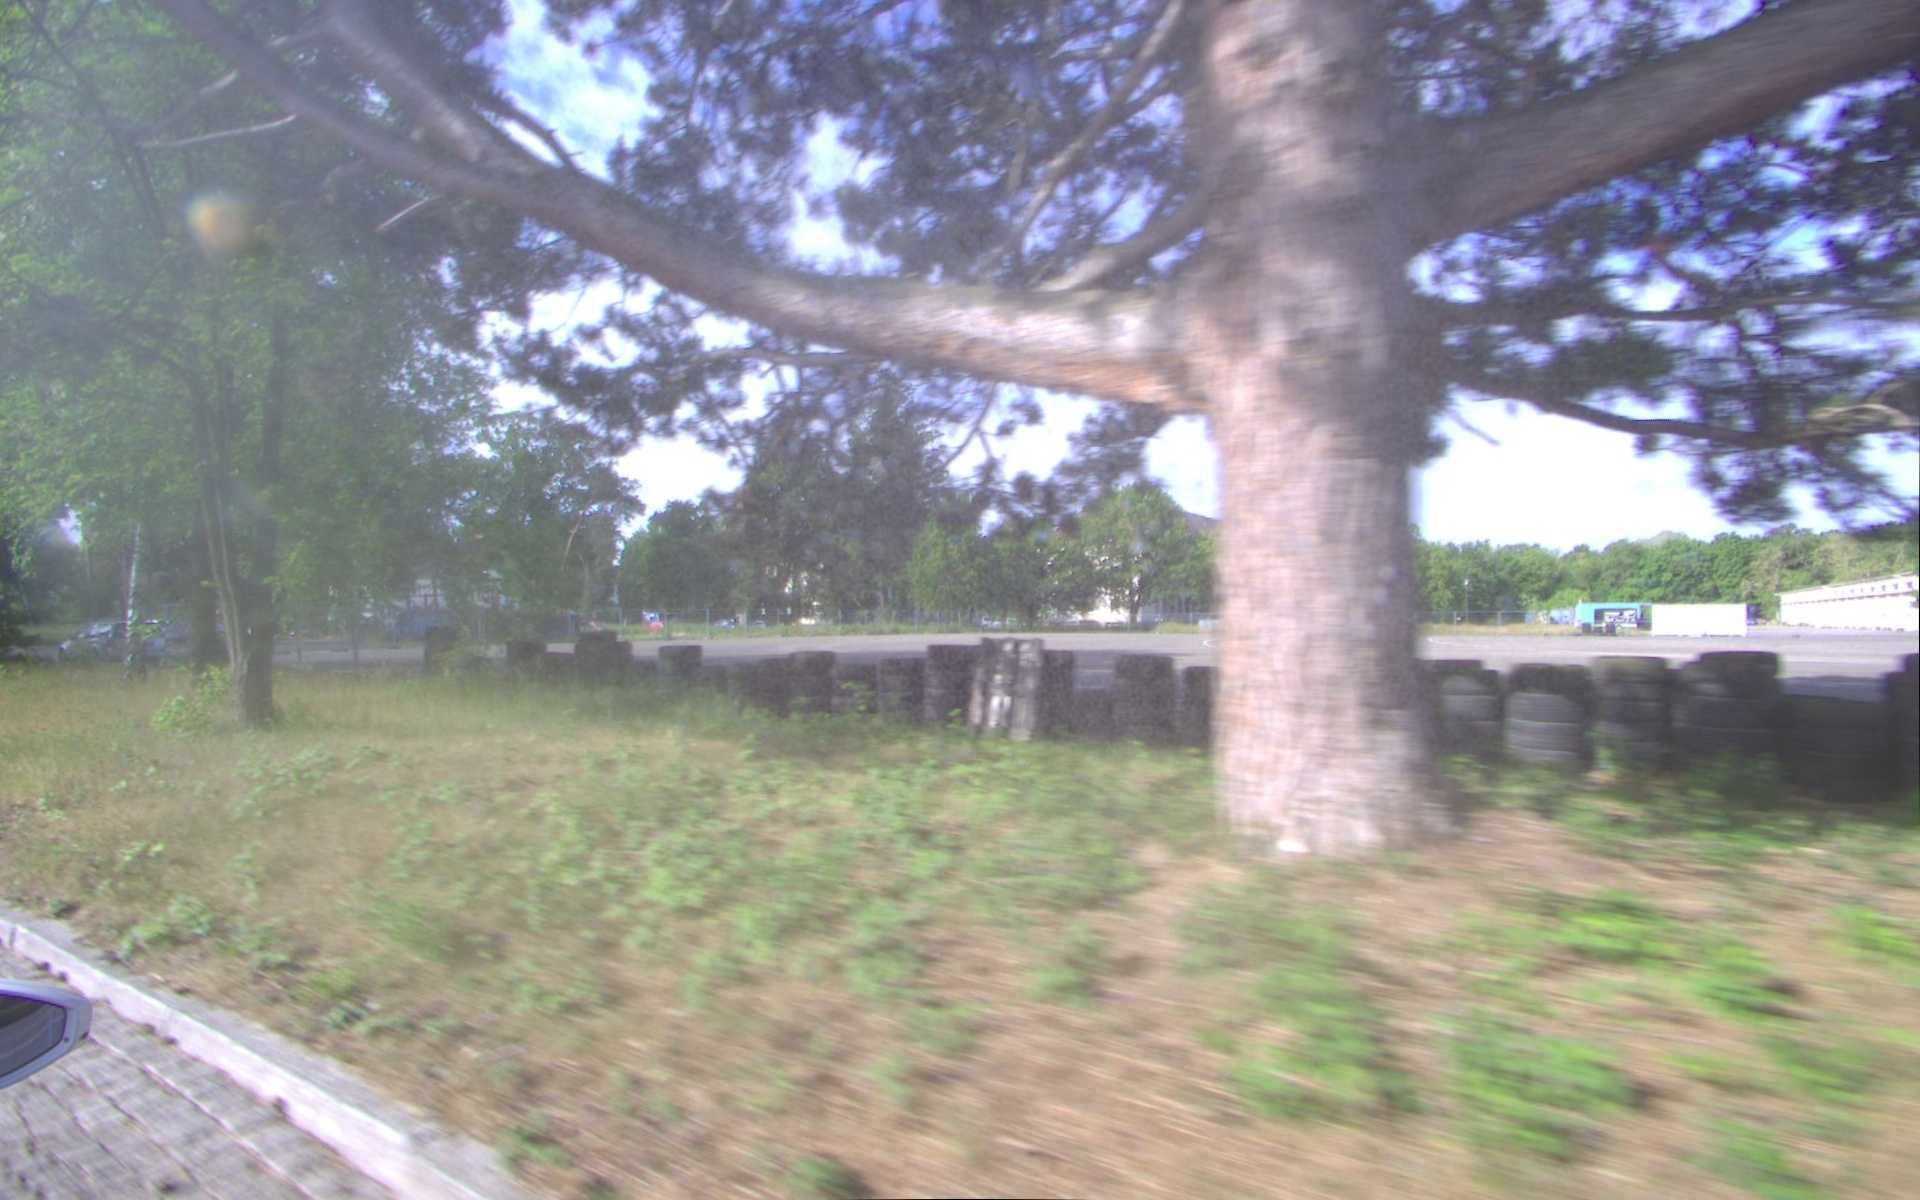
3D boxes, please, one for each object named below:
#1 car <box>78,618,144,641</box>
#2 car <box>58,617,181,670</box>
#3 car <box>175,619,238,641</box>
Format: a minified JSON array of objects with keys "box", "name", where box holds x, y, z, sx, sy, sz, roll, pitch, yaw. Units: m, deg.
[{"box":[-50.503,1.715,59.554,4.268,1.329,1.728,-1,-1,31],"name":"car"},{"box":[-25.424,1.277,30.273,3.941,1.487,1.665,-1,-1,31],"name":"car"},{"box":[-48.249,1.925,64.105,4.268,1.329,1.728,-1,0,31],"name":"car"}]
